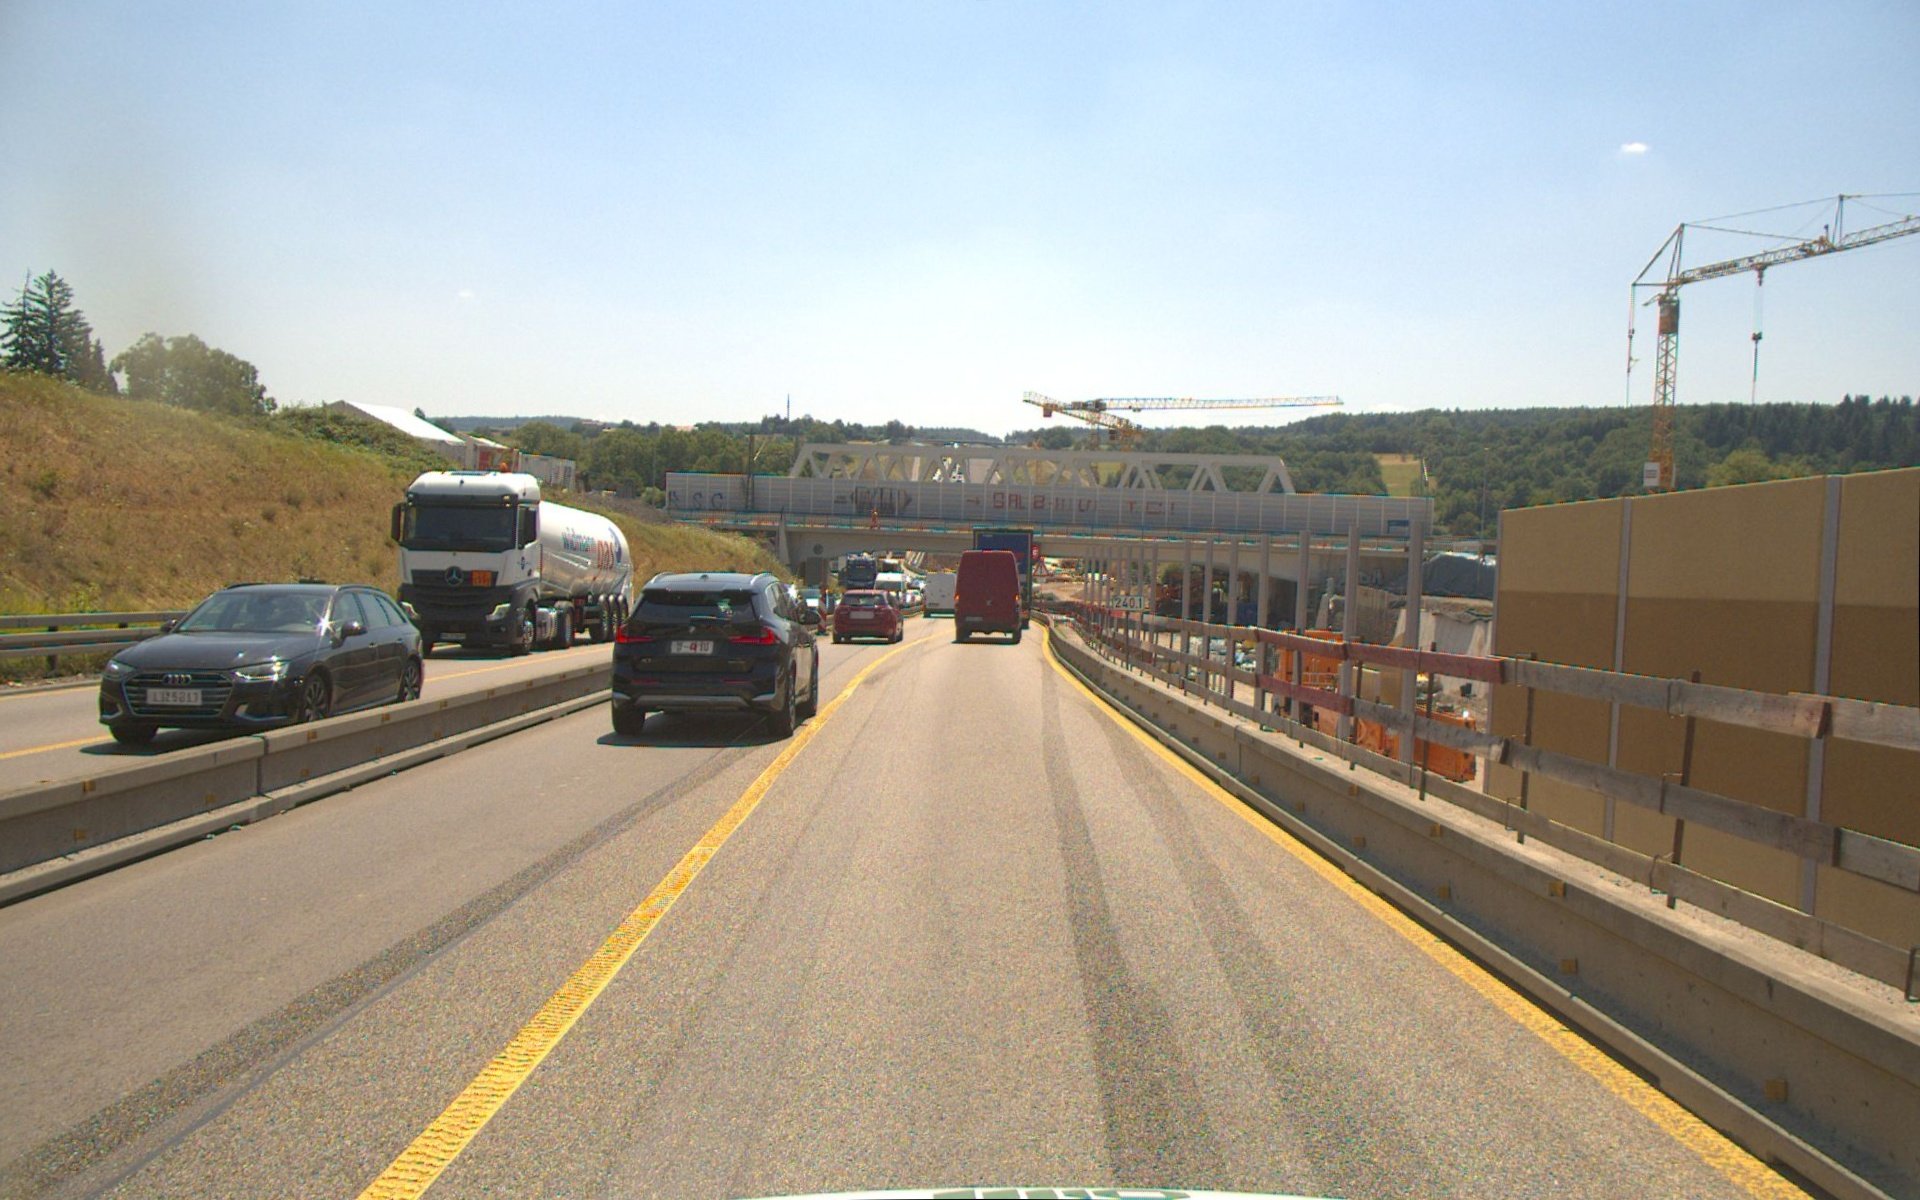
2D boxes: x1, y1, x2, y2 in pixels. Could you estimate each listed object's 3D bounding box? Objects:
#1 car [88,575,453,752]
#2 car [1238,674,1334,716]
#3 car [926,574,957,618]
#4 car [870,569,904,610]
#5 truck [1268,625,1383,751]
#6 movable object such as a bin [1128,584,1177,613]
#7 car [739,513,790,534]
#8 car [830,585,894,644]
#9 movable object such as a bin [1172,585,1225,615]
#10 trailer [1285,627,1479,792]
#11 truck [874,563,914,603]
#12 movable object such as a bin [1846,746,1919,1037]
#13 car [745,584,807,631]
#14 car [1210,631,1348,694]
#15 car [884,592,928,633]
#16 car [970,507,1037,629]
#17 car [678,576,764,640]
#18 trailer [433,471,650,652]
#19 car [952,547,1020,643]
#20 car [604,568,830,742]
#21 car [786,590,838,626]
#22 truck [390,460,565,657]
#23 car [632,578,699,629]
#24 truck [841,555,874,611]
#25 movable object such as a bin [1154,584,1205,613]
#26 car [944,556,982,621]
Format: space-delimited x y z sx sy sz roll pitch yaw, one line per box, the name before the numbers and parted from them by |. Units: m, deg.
car | -6.660 0.538 16.604 1.743 1.483 4.719 1 0 -1
car | 17.198 5.014 87.511 4.631 1.804 2.001 3 2 1
car | -1.083 -0.240 95.172 1.740 2.484 4.205 0 1 -1
car | -4.838 -0.719 110.269 1.953 2.652 7.010 1 1 0
truck | 12.651 2.951 57.644 2.702 3.954 5.882 1 1 1
movable object such as a bin | 20.437 -0.172 175.751 5.038 2.856 2.144 1 0 5
car | -18.636 -7.297 157.797 4.456 1.814 1.962 1 0 13
car | -2.735 0.372 46.773 1.740 1.544 4.204 0 1 -2
movable object such as a bin | 23.685 -0.034 164.067 5.038 2.856 2.144 1 0 5
trailer | 12.534 3.027 50.582 2.702 3.954 13.051 1 1 1
truck | -6.629 -1.739 168.319 2.775 3.919 12.917 1 1 3
movable object such as a bin | 13.826 3.884 18.176 2.906 3.548 9.149 3 0 -2
car | -6.930 0.255 62.673 1.754 1.639 4.733 1 1 0
car | 15.460 3.014 80.339 5.978 2.629 2.524 3 2 -10
car | -2.308 0.513 71.326 1.802 1.683 4.164 0 1 -1
car | 1.845 -1.401 74.379 2.567 5.120 10.395 0 1 -1
car | -6.884 0.200 48.085 1.841 1.775 4.482 0 1 0
trailer | -10.203 -0.910 41.889 2.537 3.868 11.916 1 1 -1
car | 0.824 -0.172 50.169 1.947 2.737 4.625 0 1 2
car | -2.498 0.497 18.046 1.841 1.646 4.498 0 1 -1
car | -6.755 0.343 75.973 1.921 1.489 4.940 1 1 0
truck | -10.092 -0.853 34.932 2.537 3.868 3.766 1 0 -1
car | -10.912 0.106 61.510 1.754 1.793 4.536 0 1 -2
truck | -7.647 -1.307 123.932 2.310 4.085 3.998 1 0 -2
movable object such as a bin | 22.651 -0.174 170.588 5.038 2.856 2.144 1 0 5
car | 0.161 -0.781 112.262 2.400 4.233 6.859 0 1 -1
